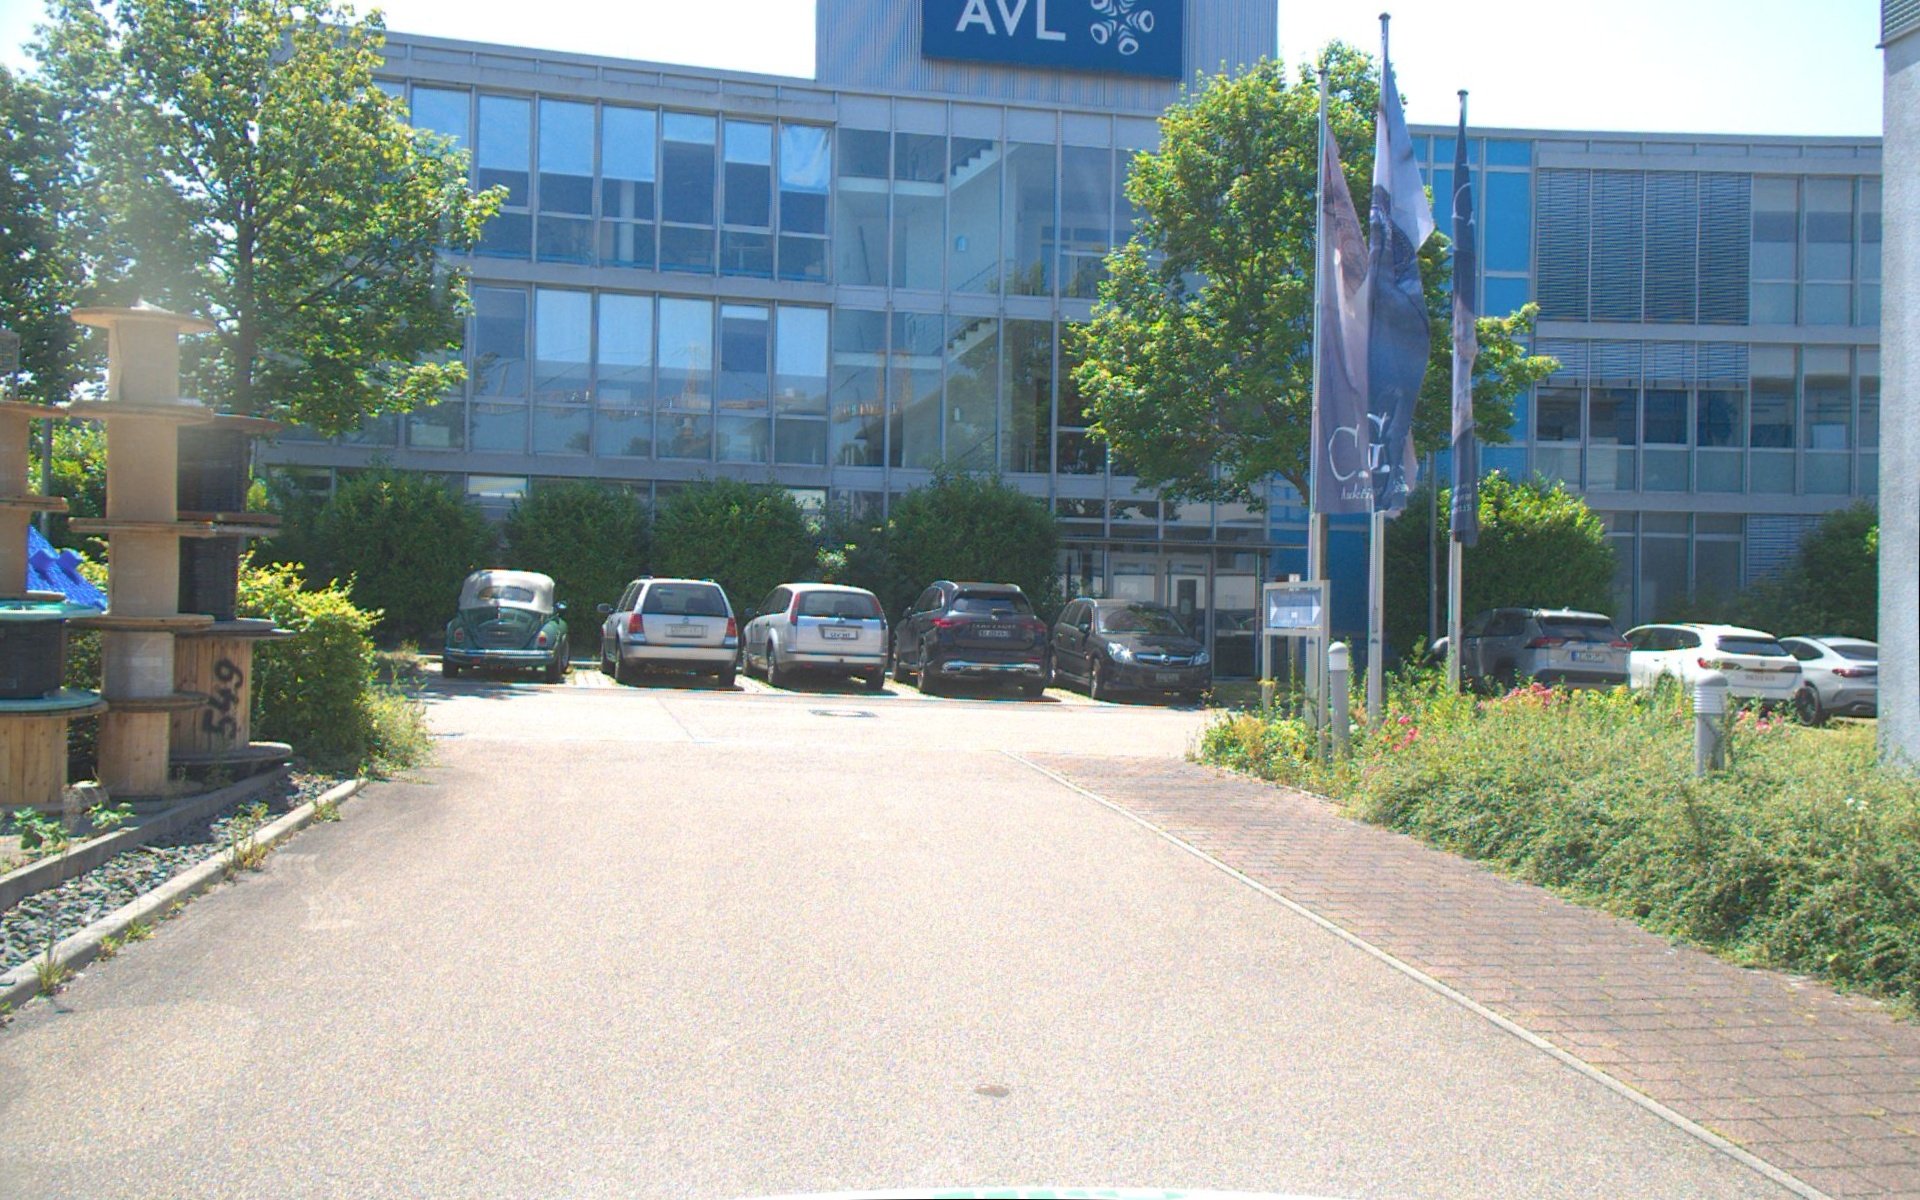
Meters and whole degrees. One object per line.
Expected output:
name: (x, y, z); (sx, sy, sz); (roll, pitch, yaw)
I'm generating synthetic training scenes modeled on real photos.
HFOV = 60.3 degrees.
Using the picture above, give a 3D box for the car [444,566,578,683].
car: (-6.319, 0.295, 23.578); (1.514, 1.474, 3.644); (3, 1, -11)

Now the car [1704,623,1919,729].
car: (14.249, 1.203, 27.488); (1.701, 1.454, 4.339); (3, 1, -1)

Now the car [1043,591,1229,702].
car: (2.646, 0.667, 25.924); (1.738, 1.507, 4.248); (2, 1, -11)

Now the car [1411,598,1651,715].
car: (9.193, 0.852, 27.049); (1.787, 1.648, 4.329); (2, 1, -11)

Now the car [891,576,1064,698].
car: (0.178, 0.501, 25.557); (1.892, 1.638, 3.976); (3, 1, -11)

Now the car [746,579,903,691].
car: (-2.142, 0.484, 25.255); (1.736, 1.474, 3.640); (3, 1, -15)

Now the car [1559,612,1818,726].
car: (11.767, 1.062, 27.065); (1.705, 1.517, 4.329); (3, 1, -11)

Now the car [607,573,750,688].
car: (-4.201, 0.399, 24.263); (1.703, 1.474, 3.640); (3, 1, -15)
